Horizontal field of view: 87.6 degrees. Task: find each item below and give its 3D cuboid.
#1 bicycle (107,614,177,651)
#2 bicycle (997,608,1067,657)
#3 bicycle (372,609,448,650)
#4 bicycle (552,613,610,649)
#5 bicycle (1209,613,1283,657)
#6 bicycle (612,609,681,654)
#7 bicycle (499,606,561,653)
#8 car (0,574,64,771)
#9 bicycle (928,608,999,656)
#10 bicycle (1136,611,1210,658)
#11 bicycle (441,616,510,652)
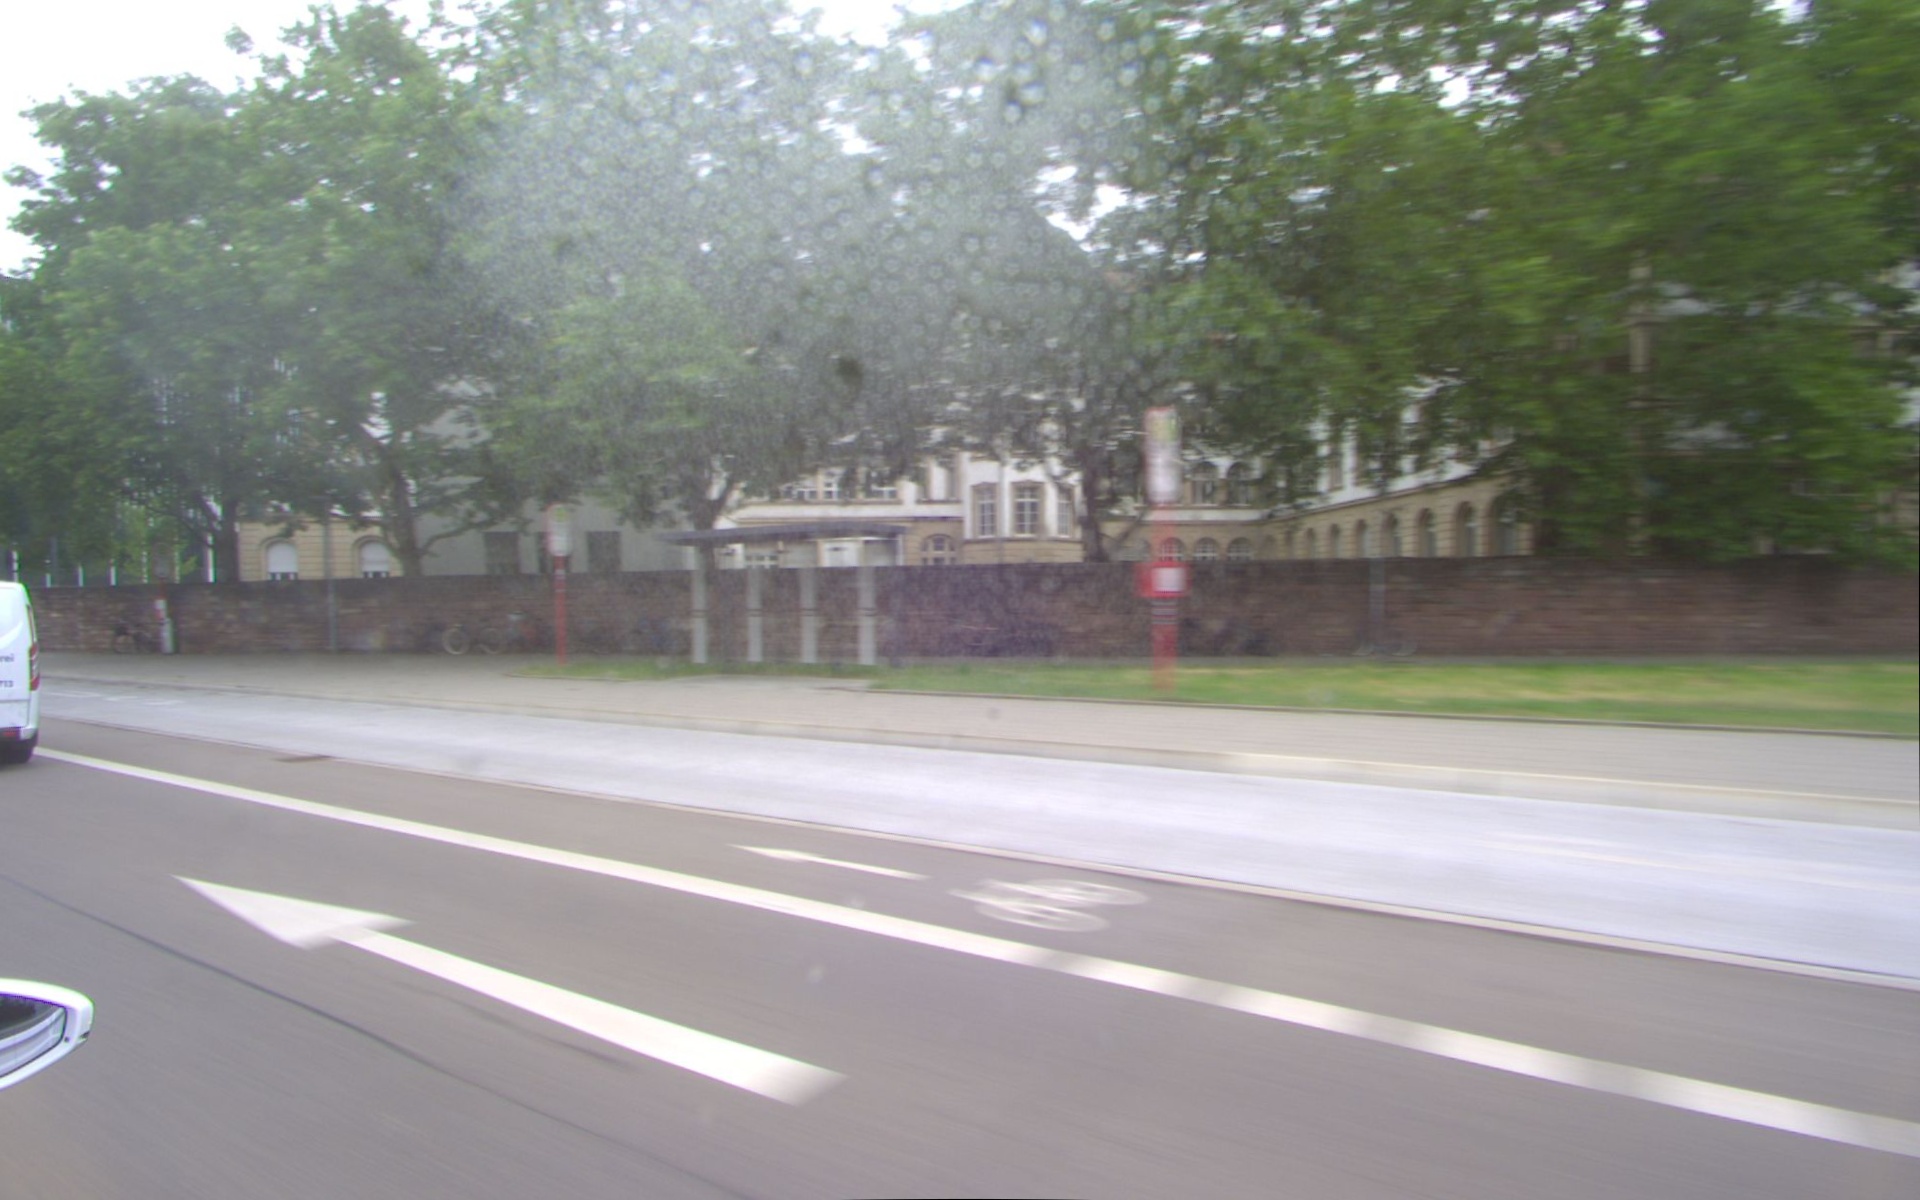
[{"bbox_3d":[-26.881,1.050,32.911,1.889,1.143,0.849,-1,3,18],"label":"bicycle"},{"bbox_3d":[1.786,0.791,24.599,1.680,1.145,0.595,-1,2,7],"label":"bicycle"},{"bbox_3d":[-15.709,0.839,28.599,1.757,1.115,0.720,-1,2,4],"label":"bicycle"},{"bbox_3d":[-10.296,0.845,27.207,1.497,0.955,0.416,0,2,15],"label":"bicycle"},{"bbox_3d":[6.774,0.821,23.746,1.605,1.005,0.550,-1,2,4],"label":"bicycle"},{"bbox_3d":[-8.245,0.824,26.349,1.624,1.120,0.597,0,2,13],"label":"bicycle"},{"bbox_3d":[-11.865,0.809,27.642,1.597,1.238,0.499,0,2,15],"label":"bicycle"},{"bbox_3d":[-11.802,0.724,10.907,4.282,1.998,1.963,0,-1,33],"label":"car"},{"bbox_3d":[0.100,0.797,24.822,1.680,1.152,0.595,-1,2,7],"label":"bicycle"},{"bbox_3d":[5.096,0.821,23.978,1.680,1.074,0.595,-1,2,7],"label":"bicycle"},{"bbox_3d":[-13.598,0.934,28.105,1.738,0.964,0.654,0,2,15],"label":"bicycle"}]
